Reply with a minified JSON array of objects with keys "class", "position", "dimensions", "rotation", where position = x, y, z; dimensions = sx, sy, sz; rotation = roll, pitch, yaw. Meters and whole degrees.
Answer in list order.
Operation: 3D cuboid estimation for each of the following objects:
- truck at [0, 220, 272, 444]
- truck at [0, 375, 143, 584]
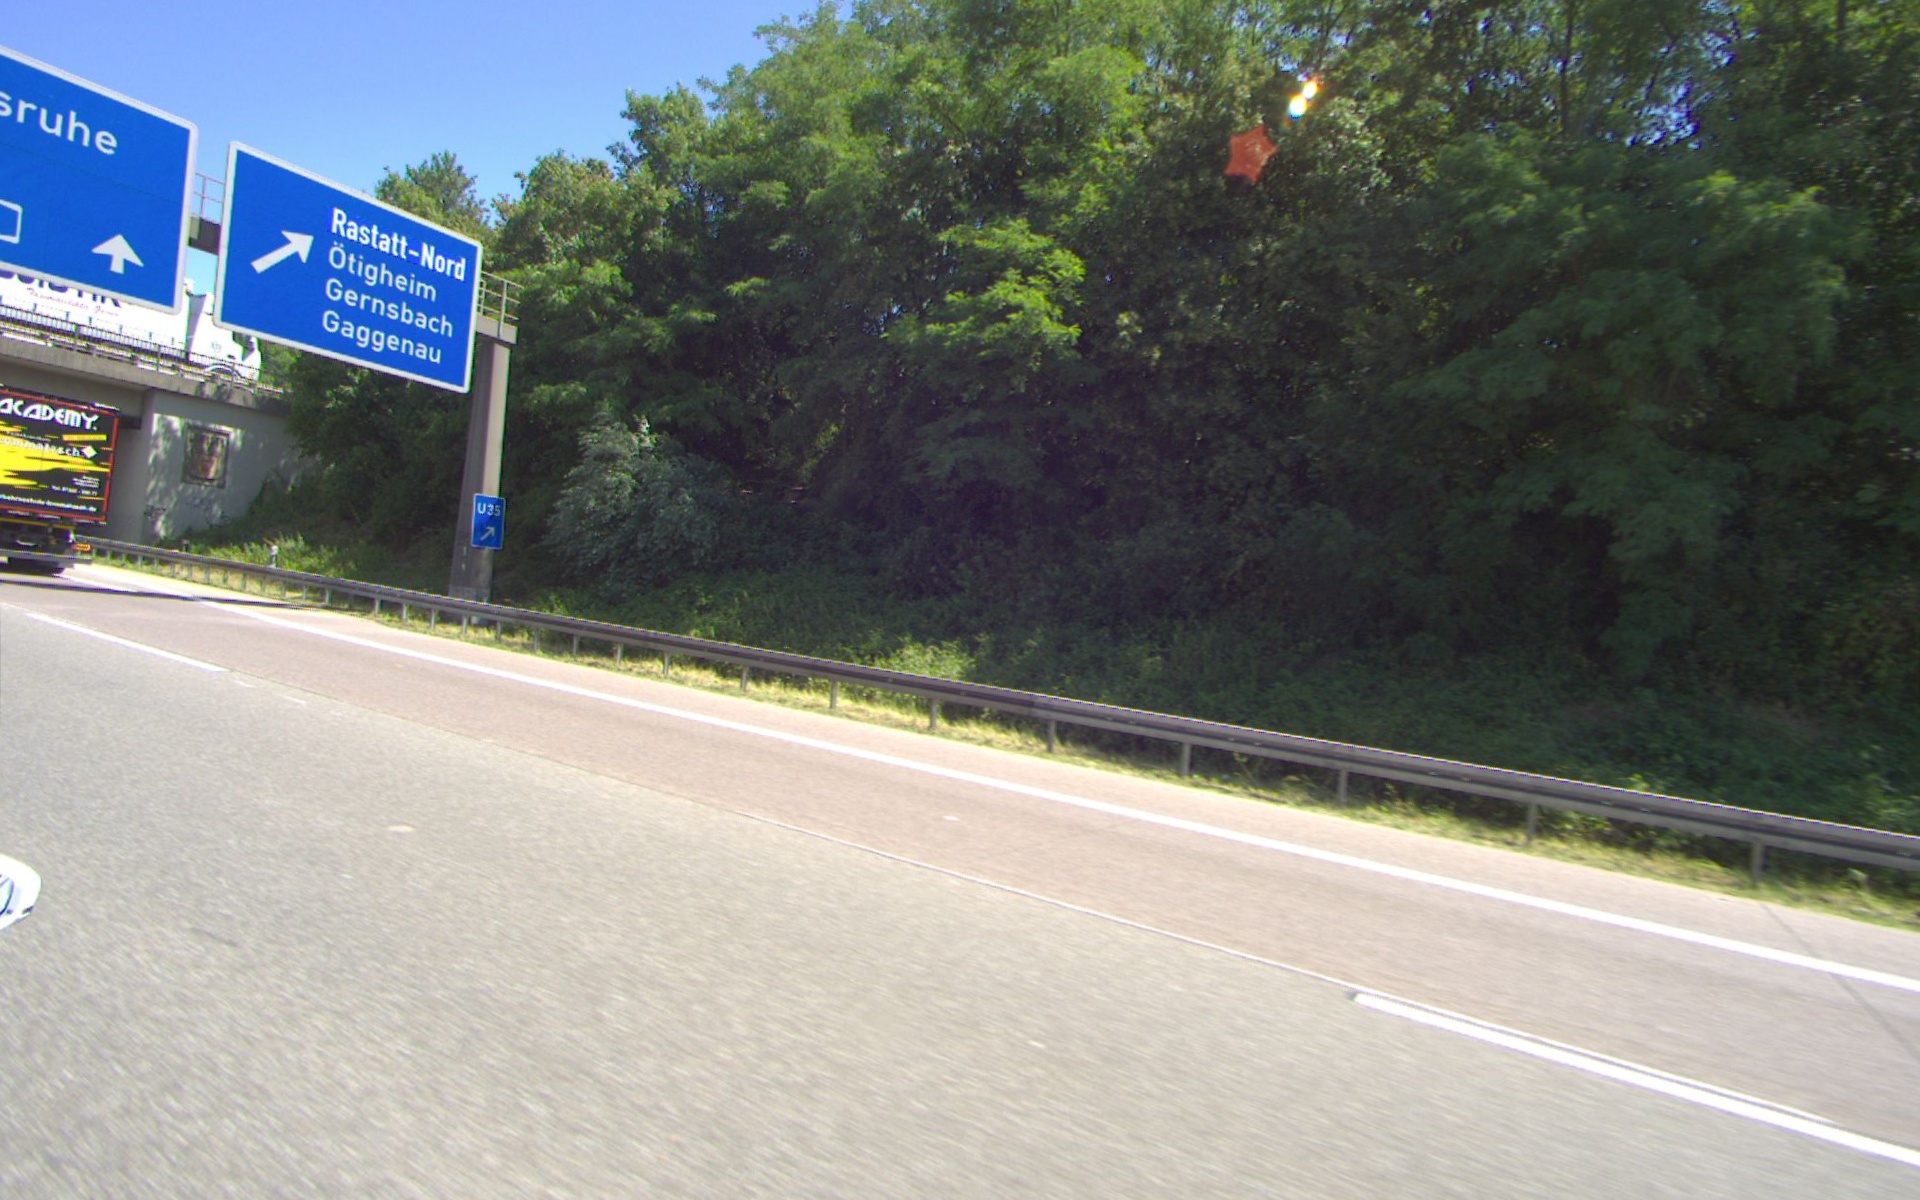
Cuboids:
[{"class":"truck","position":[-33.995,-10.175,35.190],"dimensions":[3.119,5.629,16.512],"rotation":[6,-2,27]},{"class":"truck","position":[-24.232,-3.021,24.860],"dimensions":[10.808,4.082,2.979],"rotation":[6,-3,35]}]
